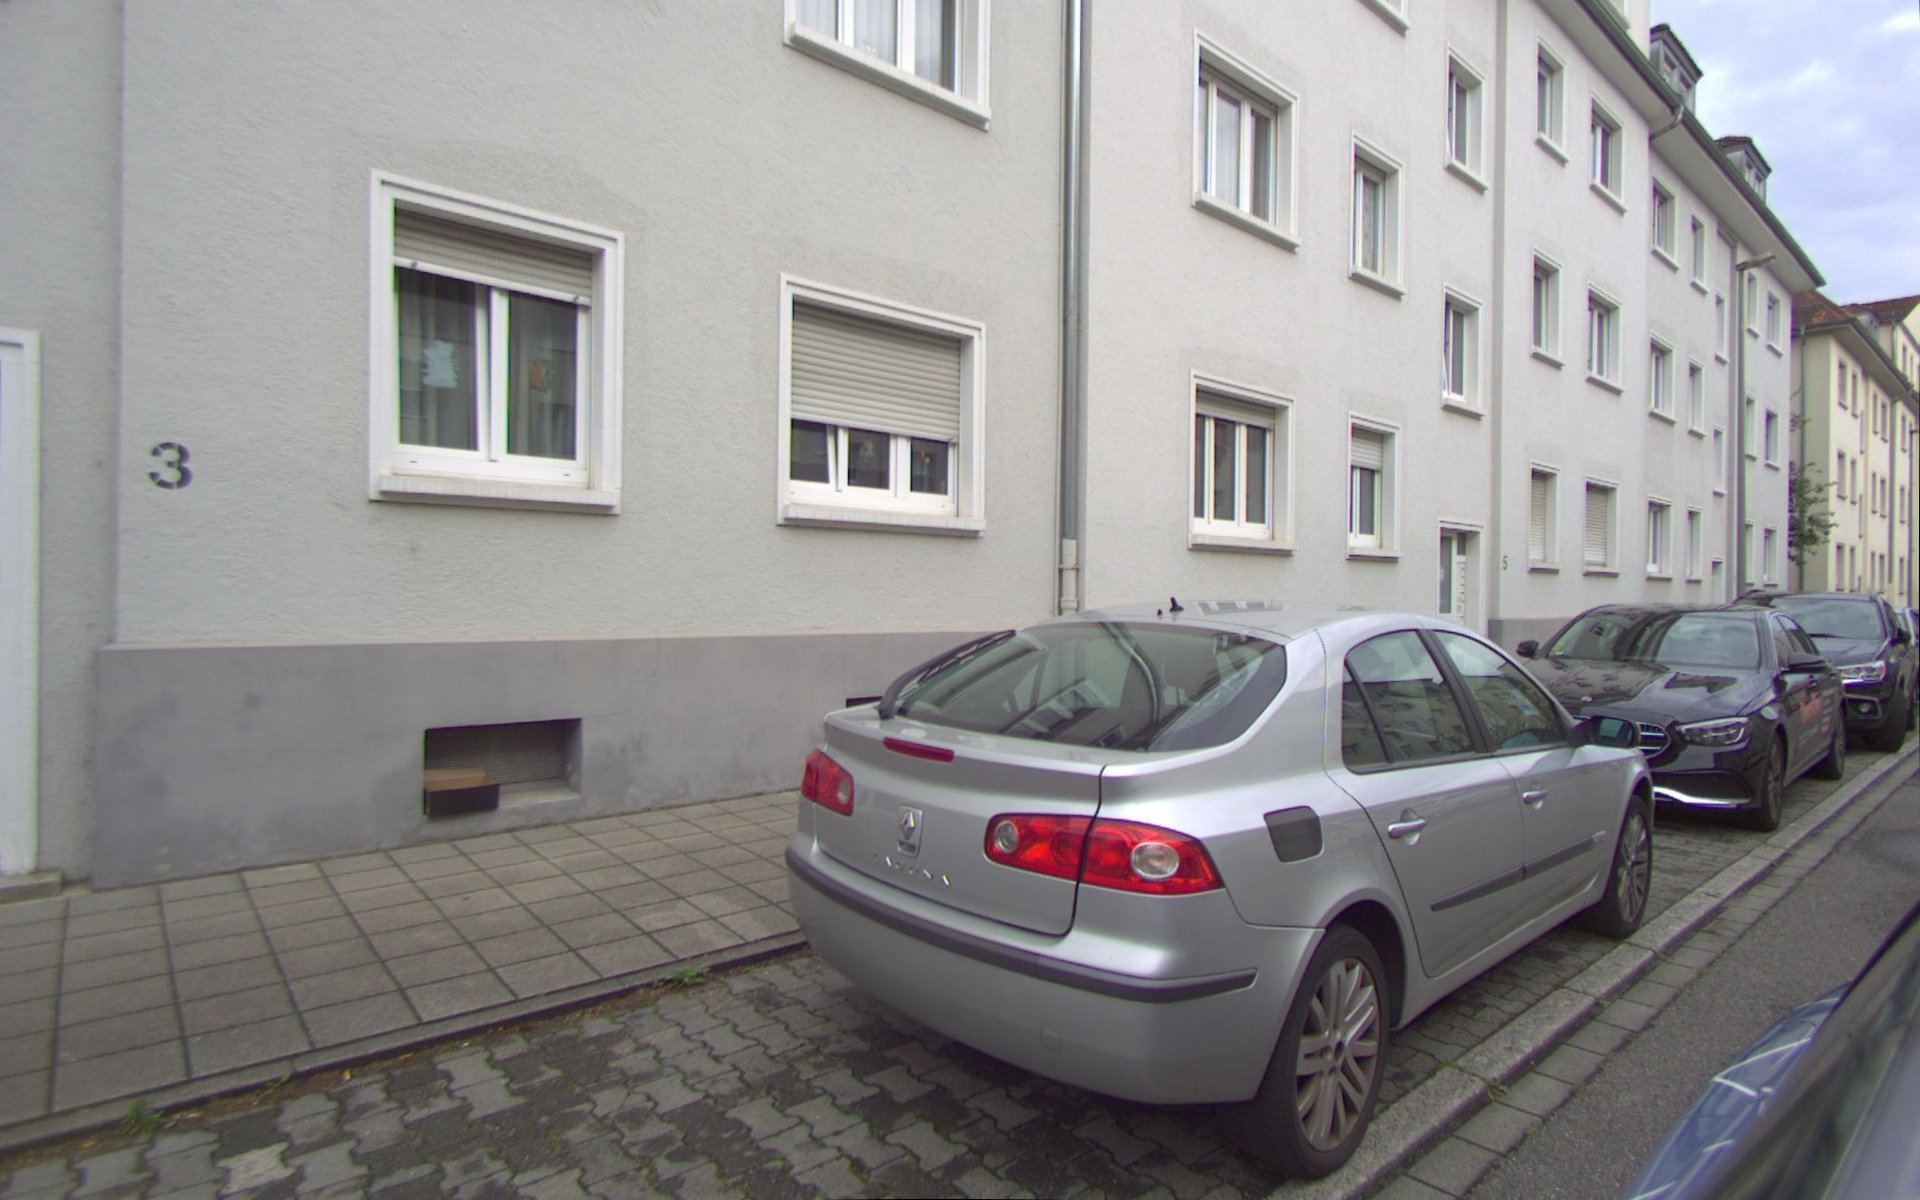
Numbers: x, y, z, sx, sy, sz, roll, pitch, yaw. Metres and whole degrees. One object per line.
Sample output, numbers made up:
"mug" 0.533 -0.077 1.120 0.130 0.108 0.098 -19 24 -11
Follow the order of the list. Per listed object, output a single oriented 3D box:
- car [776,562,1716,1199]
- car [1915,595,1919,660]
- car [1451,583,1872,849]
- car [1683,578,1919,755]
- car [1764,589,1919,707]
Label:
"car" 1.577 0.654 4.201 4.355 1.481 1.735 1 1 -43
"car" 25.014 0.681 25.059 3.615 1.566 1.735 0 1 -43
"car" 5.582 0.653 7.820 4.249 1.481 1.784 1 1 -43
"car" 9.764 0.606 11.388 4.089 1.619 1.850 1 1 -43
"car" 13.329 0.626 14.869 3.691 1.505 1.735 1 1 -41
